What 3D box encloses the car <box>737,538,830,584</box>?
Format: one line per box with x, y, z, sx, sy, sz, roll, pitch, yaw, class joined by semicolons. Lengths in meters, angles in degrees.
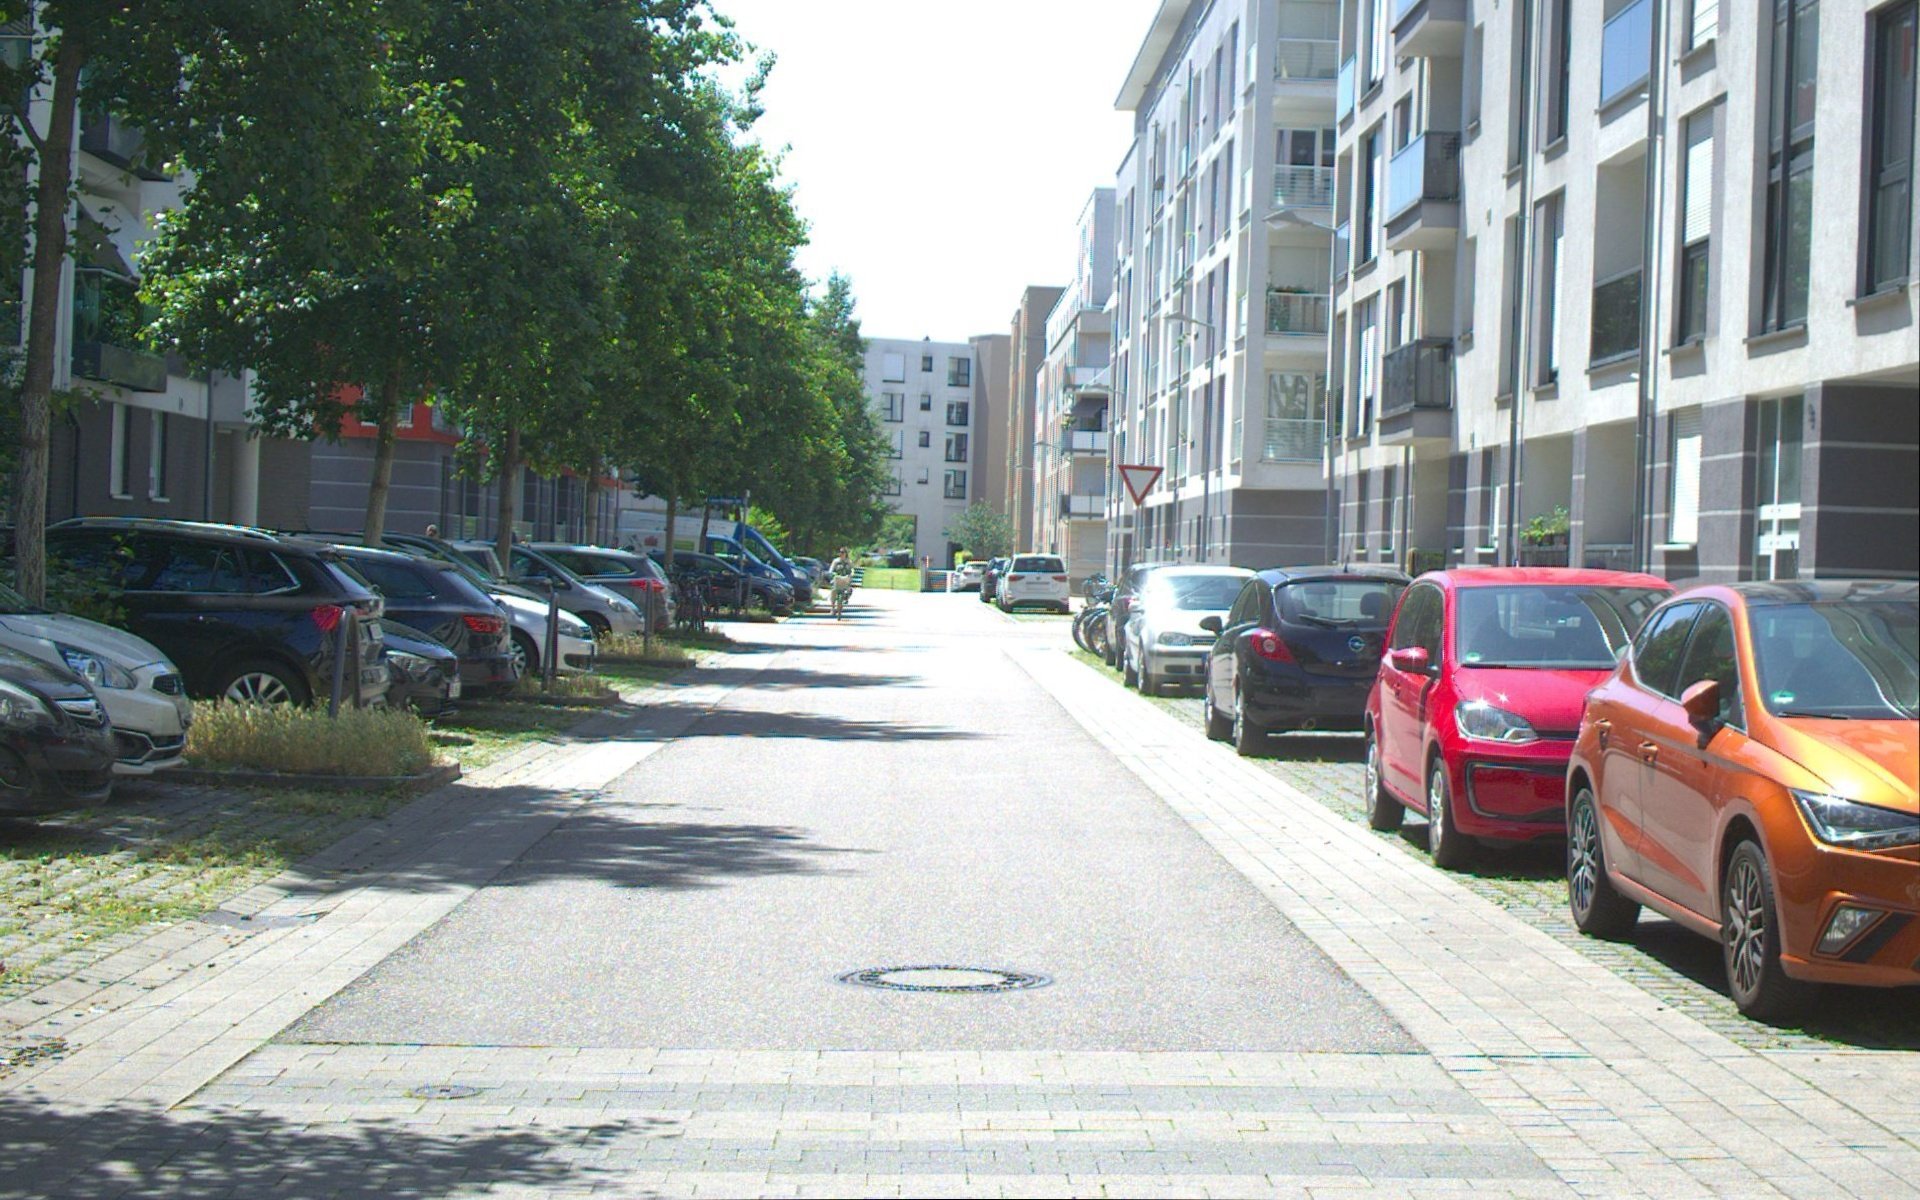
-8.177;-1.803;159.242;3.988;2.007;2.000;2;1;6;car

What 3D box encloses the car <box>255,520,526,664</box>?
-6.869;-0.106;41.693;2.932;1.495;1.848;4;1;-2;car

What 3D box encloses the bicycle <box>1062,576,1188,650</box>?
2.606;0.199;54.306;1.924;1.129;0.609;1;1;9;bicycle

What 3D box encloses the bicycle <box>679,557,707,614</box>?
-6.037;-0.334;77.687;0.434;1.200;1.700;3;2;0;bicycle

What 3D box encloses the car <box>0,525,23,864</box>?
-6.288;0.292;14.175;4.252;1.512;1.925;4;1;-1;car

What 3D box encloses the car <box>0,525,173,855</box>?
-6.200;0.287;16.622;4.316;1.471;1.793;4;1;-1;car

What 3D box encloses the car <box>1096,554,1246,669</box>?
2.871;0.127;47.608;1.739;1.480;4.229;1;1;-1;car

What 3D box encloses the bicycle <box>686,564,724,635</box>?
-4.397;-0.013;59.207;0.371;1.176;1.821;1;1;-13;bicycle

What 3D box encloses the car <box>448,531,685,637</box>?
-6.458;-0.275;56.673;3.630;1.515;1.832;3;1;-1;car

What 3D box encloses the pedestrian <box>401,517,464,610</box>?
-9.805;-0.679;63.913;1.000;1.684;0.832;2;1;0;pedestrian

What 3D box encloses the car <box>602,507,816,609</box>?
-7.280;-1.239;100.405;6.023;2.806;2.605;1;1;-1;car

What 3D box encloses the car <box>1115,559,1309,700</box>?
2.817;0.296;39.290;1.834;1.499;4.351;0;1;-1;car

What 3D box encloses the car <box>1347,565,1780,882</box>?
3.068;0.567;18.133;1.595;1.480;3.676;0;1;-1;car

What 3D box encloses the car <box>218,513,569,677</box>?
-6.320;-0.061;38.693;3.707;1.580;1.821;3;0;-6;car

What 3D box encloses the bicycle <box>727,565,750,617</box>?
-5.018;-0.219;77.907;0.466;1.138;1.926;2;1;-3;bicycle

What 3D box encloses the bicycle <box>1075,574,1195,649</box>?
2.745;0.181;53.941;1.833;1.144;0.461;1;1;-19;bicycle

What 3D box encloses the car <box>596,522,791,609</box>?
-7.334;-0.966;94.976;5.145;2.112;2.312;3;1;-1;car

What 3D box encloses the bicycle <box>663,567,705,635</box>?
-4.758;0.005;59.177;0.433;1.124;1.979;1;1;-13;bicycle

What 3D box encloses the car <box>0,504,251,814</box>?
-6.182;0.213;19.183;3.987;1.586;1.884;3;1;0;car

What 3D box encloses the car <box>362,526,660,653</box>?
-6.337;-0.164;48.859;3.937;1.548;1.872;3;1;-1;car

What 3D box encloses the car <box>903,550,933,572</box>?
-3.014;-2.815;247.014;1.993;1.514;4.000;2;1;-2;car

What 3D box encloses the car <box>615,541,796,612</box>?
-6.470;-0.600;87.798;4.383;1.509;2.075;4;1;-1;car

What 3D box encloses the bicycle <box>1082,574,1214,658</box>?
2.792;0.229;51.255;1.869;1.213;0.715;1;1;-4;bicycle

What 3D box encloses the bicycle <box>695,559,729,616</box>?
-5.604;-0.289;77.684;0.570;1.170;1.769;5;2;-8;bicycle

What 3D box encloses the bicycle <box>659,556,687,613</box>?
-6.505;-0.363;77.937;0.518;1.200;1.752;3;2;-3;bicycle

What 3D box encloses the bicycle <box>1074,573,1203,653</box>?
2.766;0.205;53.357;1.923;1.213;0.461;1;0;-9;bicycle

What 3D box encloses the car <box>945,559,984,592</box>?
0.222;-1.376;190.931;1.993;1.711;4.000;2;1;-2;car

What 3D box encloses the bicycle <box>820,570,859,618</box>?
-2.937;-0.161;84.122;0.898;1.125;2.040;2;1;-1;bicycle

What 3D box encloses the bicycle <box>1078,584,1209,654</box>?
2.809;0.290;52.697;1.923;1.031;0.559;1;1;-4;bicycle

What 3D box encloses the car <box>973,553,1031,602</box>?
1.416;-0.772;115.152;1.757;1.547;4.000;3;1;2;car

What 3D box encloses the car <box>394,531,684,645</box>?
-6.286;-0.169;51.756;4.180;1.481;1.959;3;-1;-4;car

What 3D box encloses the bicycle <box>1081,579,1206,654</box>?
2.769;0.252;52.002;1.786;1.100;0.747;1;1;-4;bicycle

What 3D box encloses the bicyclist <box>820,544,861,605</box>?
-2.913;-0.621;84.067;0.954;1.454;0.800;2;1;-1;bicyclist

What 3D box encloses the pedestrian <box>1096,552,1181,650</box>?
2.770;0.012;53.483;1.178;1.509;0.688;1;1;-10;pedestrian

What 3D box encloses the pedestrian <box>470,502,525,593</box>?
-10.461;-1.184;77.752;1.009;2.007;1.129;1;1;2;pedestrian

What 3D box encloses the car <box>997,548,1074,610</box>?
2.072;-0.599;95.046;1.997;1.651;4.115;1;1;0;car

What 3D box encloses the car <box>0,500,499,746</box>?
-5.748;0.143;26.622;3.987;1.645;1.918;3;1;1;car

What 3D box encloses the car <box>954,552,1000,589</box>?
0.788;-1.421;163.702;1.993;1.669;4.000;2;1;-2;car

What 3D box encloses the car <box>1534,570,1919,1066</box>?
3.361;0.653;12.600;1.737;1.482;4.259;1;1;-1;car

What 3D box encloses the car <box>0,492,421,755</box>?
-5.956;0.105;24.094;3.987;1.624;1.933;3;1;-1;car

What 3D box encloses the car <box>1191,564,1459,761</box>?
2.879;0.447;27.871;1.642;1.457;4.118;0;1;-1;car

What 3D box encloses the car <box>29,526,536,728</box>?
-5.675;0.214;29.198;3.973;1.440;1.776;3;0;-4;car

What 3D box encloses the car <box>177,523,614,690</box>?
-5.885;0.055;36.282;4.360;1.704;2.000;0;1;-3;car
